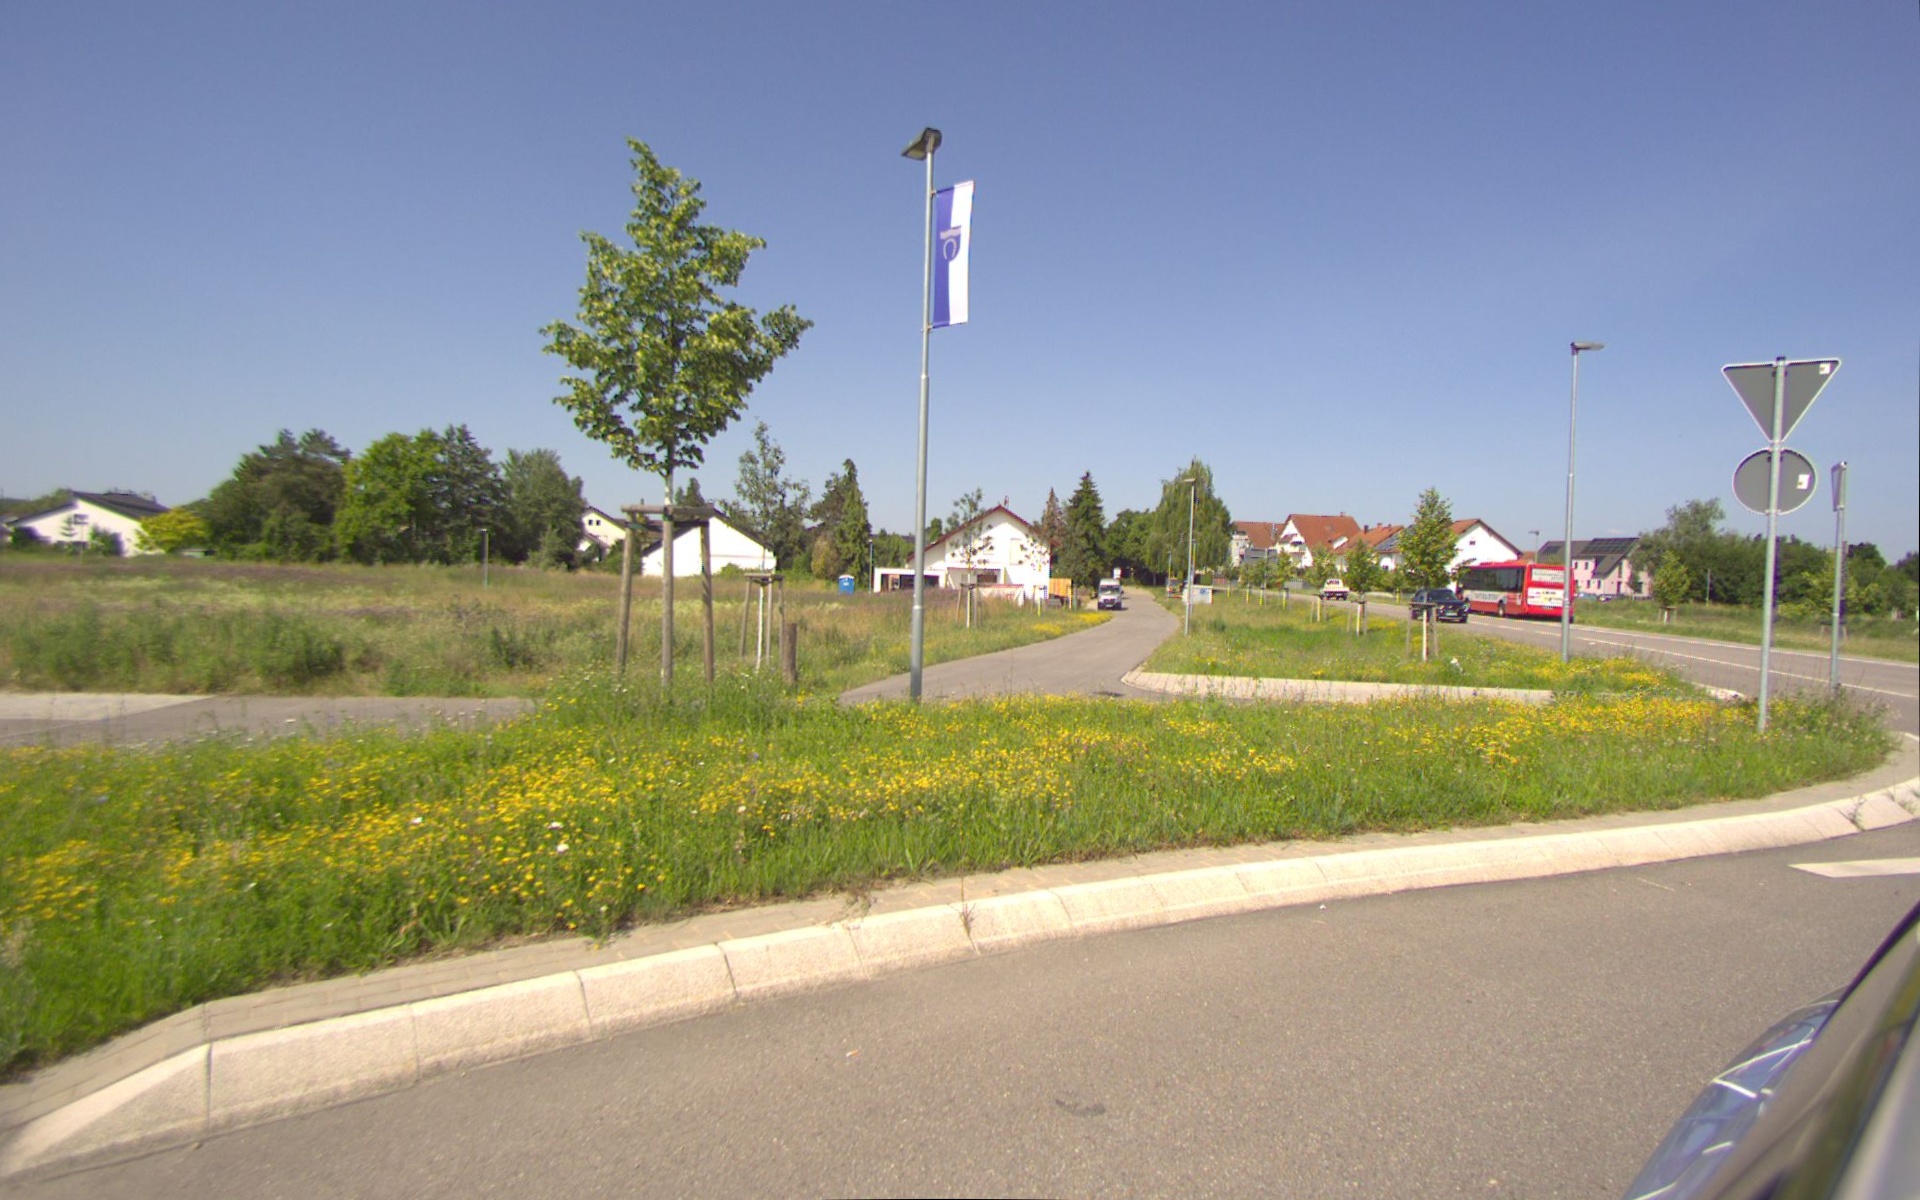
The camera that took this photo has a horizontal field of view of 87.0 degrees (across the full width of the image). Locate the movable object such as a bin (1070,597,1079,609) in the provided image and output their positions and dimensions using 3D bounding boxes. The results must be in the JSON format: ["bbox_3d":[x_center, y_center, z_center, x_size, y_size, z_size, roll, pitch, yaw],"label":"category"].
[{"bbox_3d":[9.361,0.241,82.723,0.685,0.949,0.635,1,1,16],"label":"movable object such as a bin"}]

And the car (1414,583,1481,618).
[{"bbox_3d":[24.136,0.000,50.231,1.903,1.581,3.989,2,1,9],"label":"car"}]

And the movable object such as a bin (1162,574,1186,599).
[{"bbox_3d":[22.693,-1.370,107.467,2.286,2.494,6.924,-1,0,10],"label":"movable object such as a bin"}]

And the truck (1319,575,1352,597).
[{"bbox_3d":[35.679,-1.378,96.257,1.926,2.009,5.628,0,1,10],"label":"truck"}]

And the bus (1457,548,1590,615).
[{"bbox_3d":[32.128,-1.068,58.469,2.759,3.327,12.192,4,2,10],"label":"bus"}]

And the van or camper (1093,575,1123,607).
[{"bbox_3d":[12.379,-0.800,84.938,2.141,2.633,6.022,0,1,6],"label":"van or camper"}]
